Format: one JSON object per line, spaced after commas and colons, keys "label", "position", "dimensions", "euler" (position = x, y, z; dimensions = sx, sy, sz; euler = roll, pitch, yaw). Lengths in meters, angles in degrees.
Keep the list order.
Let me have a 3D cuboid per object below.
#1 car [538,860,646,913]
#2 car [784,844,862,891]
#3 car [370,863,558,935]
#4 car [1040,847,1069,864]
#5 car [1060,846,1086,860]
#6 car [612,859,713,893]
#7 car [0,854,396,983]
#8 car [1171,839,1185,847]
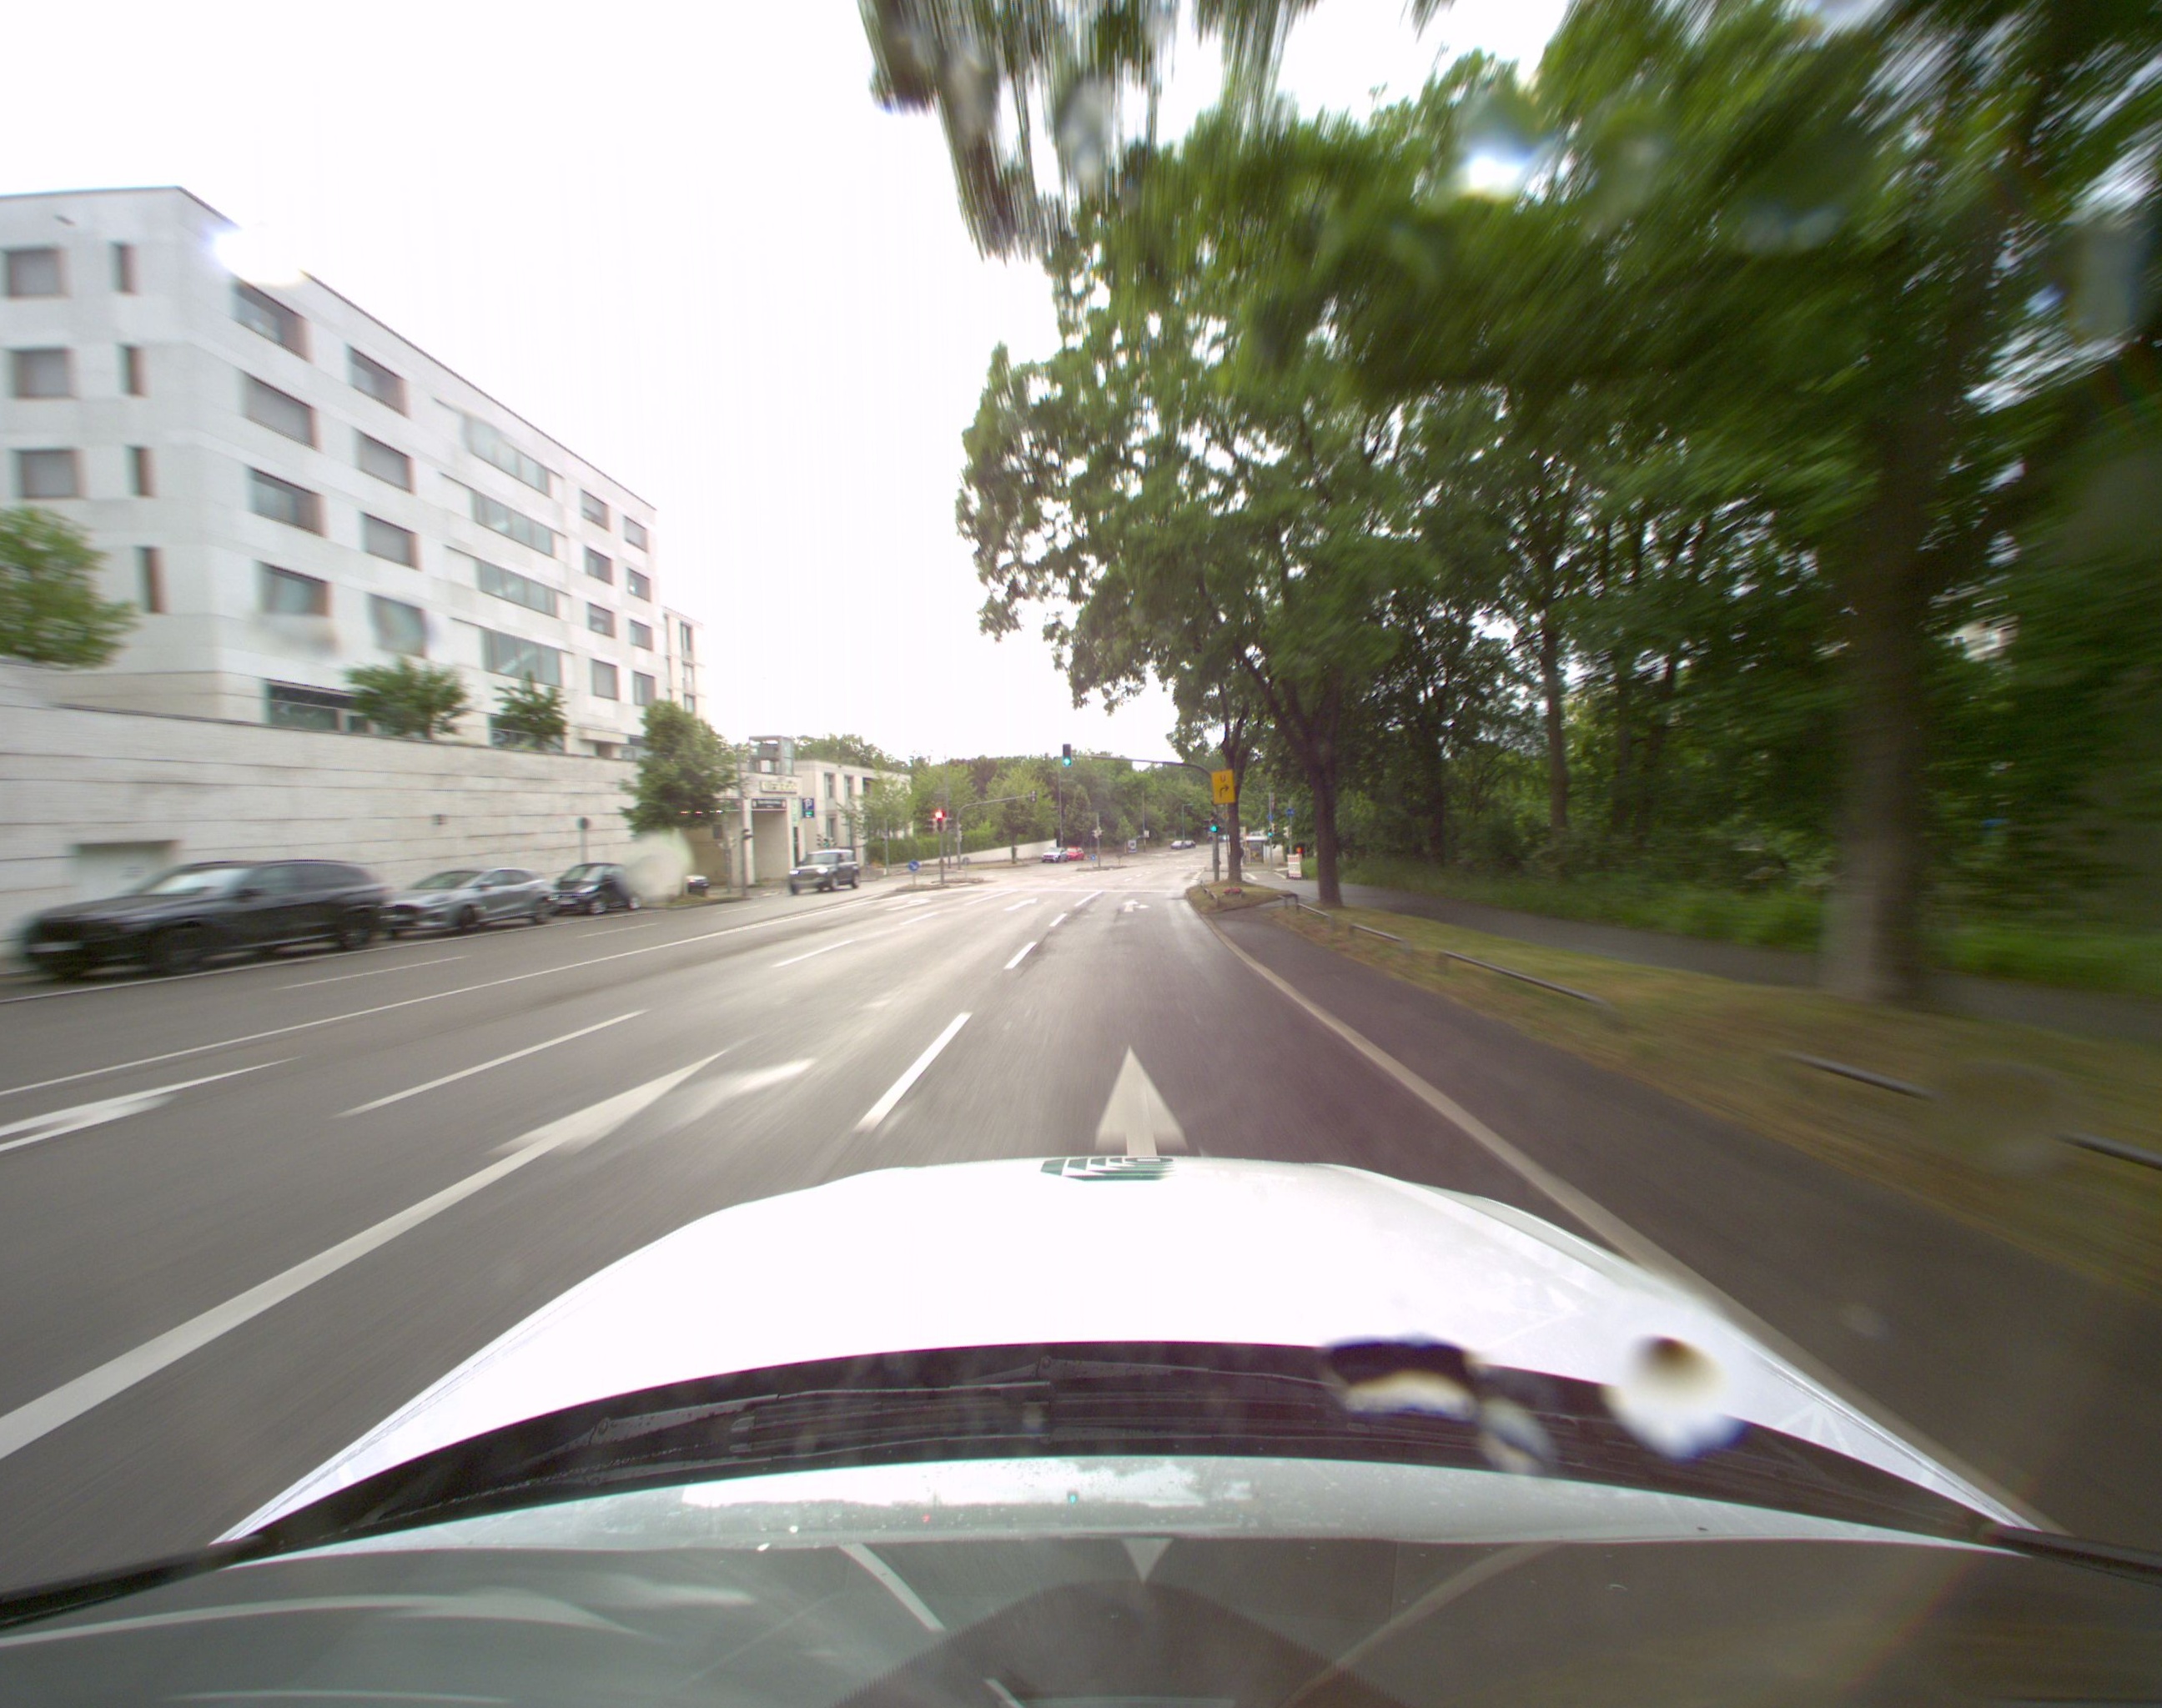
{"label": "car", "position": [-15.159, 0.971, 25.399], "dimensions": [1.502, 1.515, 2.981], "euler": [0, 0, 2]}
{"label": "car", "position": [-11.744, 0.578, 37.409], "dimensions": [1.914, 1.857, 4.507], "euler": [-5, 0, 1]}
{"label": "car", "position": [-14.716, 1.010, 19.718], "dimensions": [1.673, 1.515, 3.711], "euler": [0, 0, 1]}
{"label": "car", "position": [-2.841, 0.144, 89.337], "dimensions": [1.838, 1.639, 4.113], "euler": [2, 2, 18]}
{"label": "car", "position": [-0.896, -0.116, 96.480], "dimensions": [1.860, 1.575, 4.241], "euler": [2, 1, 16]}
{"label": "car", "position": [-22.918, 1.183, 44.757], "dimensions": [4.487, 1.672, 1.927], "euler": [-2, 0, -1]}
{"label": "car", "position": [-14.687, 0.929, 14.013], "dimensions": [1.851, 1.781, 4.596], "euler": [-1, 0, 0]}
{"label": "car", "position": [17.622, -1.963, 148.315], "dimensions": [1.699, 1.460, 3.769], "euler": [0, 0, 20]}
